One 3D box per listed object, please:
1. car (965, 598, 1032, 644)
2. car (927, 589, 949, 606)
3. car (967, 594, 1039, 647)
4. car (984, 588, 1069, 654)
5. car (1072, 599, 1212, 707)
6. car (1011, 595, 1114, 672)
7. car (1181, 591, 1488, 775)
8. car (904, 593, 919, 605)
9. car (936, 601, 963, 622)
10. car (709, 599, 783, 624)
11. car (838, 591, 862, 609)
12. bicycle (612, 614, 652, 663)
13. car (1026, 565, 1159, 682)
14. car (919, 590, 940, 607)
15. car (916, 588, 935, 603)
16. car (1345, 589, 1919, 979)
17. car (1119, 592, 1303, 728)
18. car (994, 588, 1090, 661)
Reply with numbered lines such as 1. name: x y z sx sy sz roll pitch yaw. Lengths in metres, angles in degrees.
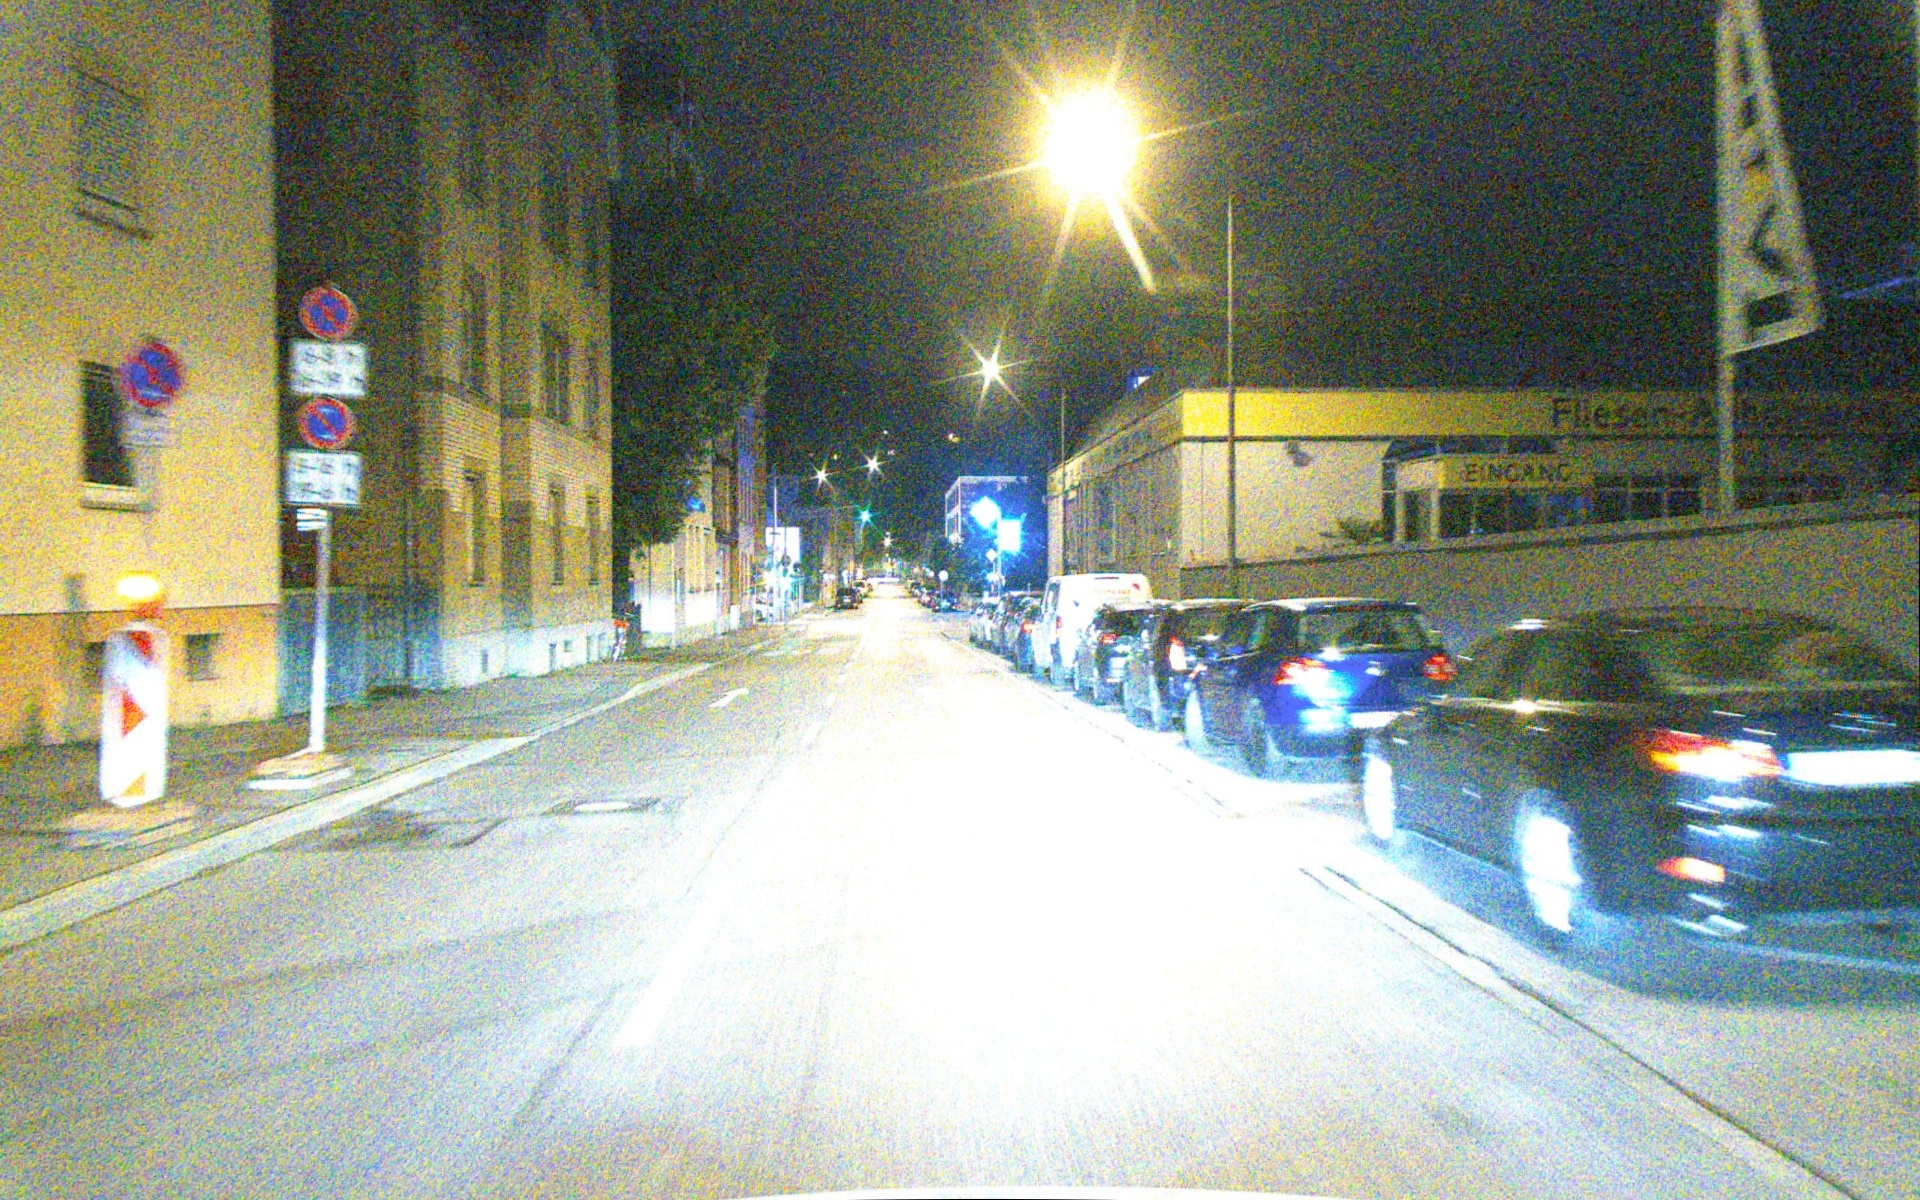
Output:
1. car: 1.275 0.709 56.572 1.823 1.515 4.542 0 0 -5
2. car: -1.982 -0.212 148.919 1.953 1.546 3.999 0 0 -1
3. car: 1.279 0.616 51.205 1.740 1.571 4.542 0 0 -5
4. car: 1.762 0.533 45.397 1.788 1.651 4.454 -2 1 -5
5. car: 2.658 0.750 24.915 1.563 1.492 3.890 0 0 -2
6. car: 2.114 0.665 35.167 1.779 1.452 4.188 -2 0 -1
7. car: 3.241 0.666 15.093 1.743 1.451 3.889 0 0 -3
8. car: -6.497 -0.162 221.067 1.953 1.546 3.999 0 0 -1
9. car: -0.807 0.868 125.075 1.953 1.543 3.999 0 0 -1
10. car: -13.004 0.701 100.653 4.350 1.475 1.999 0 0 -3
11. car: -9.514 0.042 143.094 1.953 1.528 3.998 0 0 -2
12. bicycle: -7.361 0.859 37.163 0.607 1.070 1.721 0 0 -2
13. car: 2.343 0.379 30.395 1.764 1.907 4.771 -2 1 -3
14. car: -2.828 -0.101 155.418 1.953 1.546 3.999 0 0 -1
15. car: -3.581 -0.488 173.649 1.953 1.546 3.999 0 0 -1
16. car: 3.411 0.696 8.439 1.743 1.451 4.479 0 0 -2
17. car: 2.953 0.677 20.141 1.563 1.492 3.717 0 0 -2
18. car: 1.942 0.554 40.300 1.787 1.616 4.625 -2 1 -4
